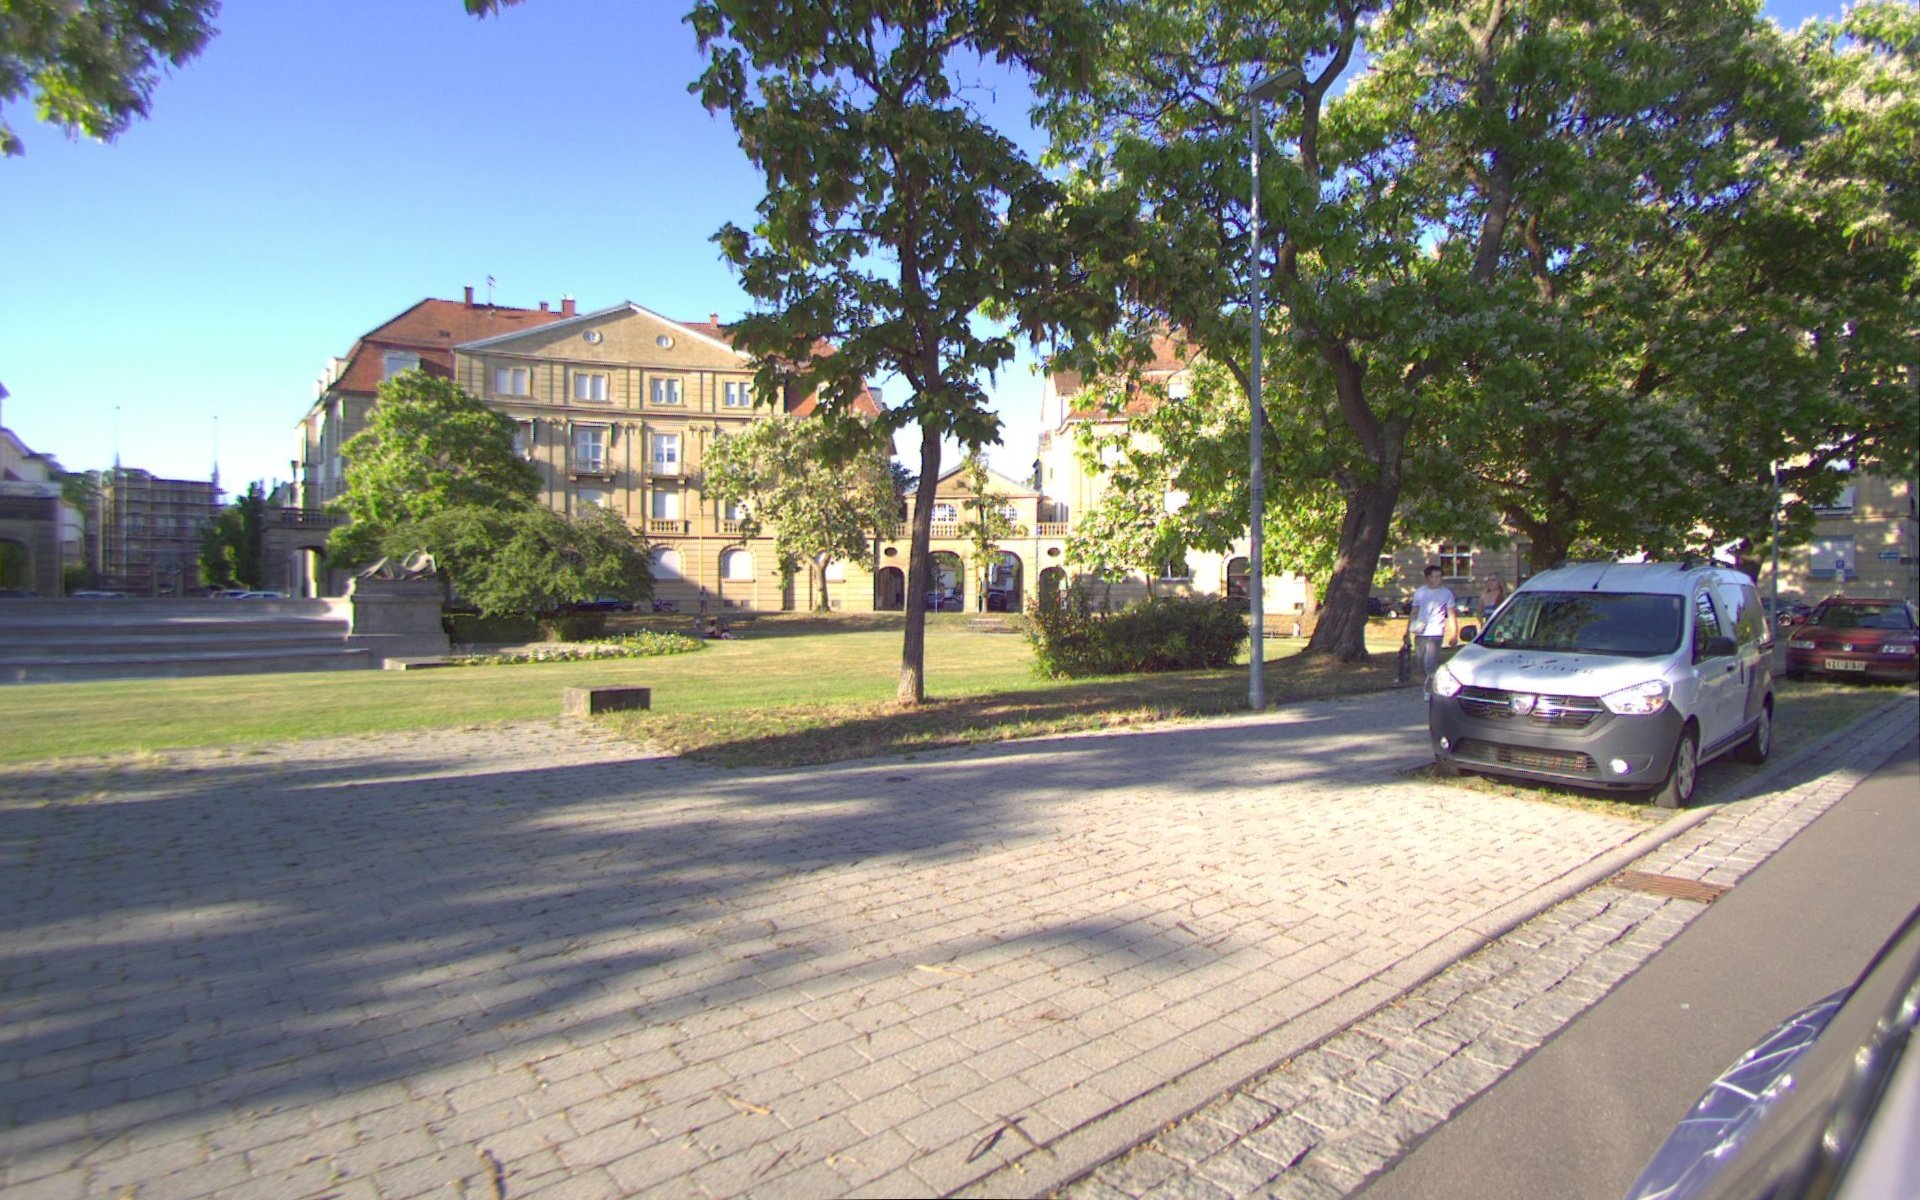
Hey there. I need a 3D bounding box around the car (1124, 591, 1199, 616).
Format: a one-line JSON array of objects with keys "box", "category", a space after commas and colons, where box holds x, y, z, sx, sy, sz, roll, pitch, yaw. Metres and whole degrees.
[{"box": [12.351, 0.208, 61.952, 4.316, 1.435, 1.808, 0, 1, 20], "category": "car"}]

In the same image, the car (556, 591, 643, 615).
[{"box": [-21.860, 0.165, 61.534, 4.845, 1.435, 1.823, 0, 1, -16], "category": "car"}]

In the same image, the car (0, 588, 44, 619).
[{"box": [-45.489, 0.152, 47.192, 4.024, 1.435, 1.817, -1, 1, -40], "category": "car"}]

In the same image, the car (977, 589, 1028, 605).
[{"box": [3.796, -0.281, 90.192, 4.283, 1.435, 1.822, 0, 1, -6], "category": "car"}]

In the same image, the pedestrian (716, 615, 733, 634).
[{"box": [-11.042, 1.142, 47.486, 0.664, 0.892, 0.578, -1, -1, -3], "category": "pedestrian"}]

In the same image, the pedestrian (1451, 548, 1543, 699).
[{"box": [6.534, 0.276, 12.321, 0.719, 1.758, 0.754, 0, -1, -40], "category": "pedestrian"}]

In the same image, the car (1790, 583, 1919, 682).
[{"box": [16.002, 0.464, 17.621, 4.727, 1.504, 1.681, -1, 1, -42], "category": "car"}]

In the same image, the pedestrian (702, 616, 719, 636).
[{"box": [-11.408, 1.177, 46.337, 0.664, 0.892, 0.578, -1, -1, -3], "category": "pedestrian"}]

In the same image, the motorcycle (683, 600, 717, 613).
[{"box": [-15.500, 0.384, 60.373, 1.825, 0.679, 0.682, -1, 1, -39], "category": "motorcycle"}]

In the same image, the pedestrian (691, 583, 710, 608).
[{"box": [-15.483, -0.264, 60.386, 0.933, 1.493, 0.682, -1, 1, -38], "category": "pedestrian"}]

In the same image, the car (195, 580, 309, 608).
[{"box": [-37.473, -0.332, 53.716, 4.854, 1.435, 1.820, -1, 1, -34], "category": "car"}]

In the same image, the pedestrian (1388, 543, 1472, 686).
[{"box": [6.008, 0.179, 12.940, 0.719, 1.758, 0.726, 0, -1, -40], "category": "pedestrian"}]

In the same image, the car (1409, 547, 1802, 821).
[{"box": [5.656, 0.501, 8.611, 4.436, 1.761, 1.681, -1, 1, -42], "category": "car"}]

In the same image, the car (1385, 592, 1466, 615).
[{"box": [28.157, 0.181, 61.305, 4.411, 1.341, 1.491, 0, 1, 28], "category": "car"}]

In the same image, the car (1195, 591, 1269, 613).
[{"box": [17.822, 0.113, 66.352, 4.589, 1.435, 1.809, 0, 1, 19], "category": "car"}]

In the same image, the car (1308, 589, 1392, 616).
[{"box": [22.233, 0.126, 57.736, 4.394, 1.435, 1.553, 0, 1, 27], "category": "car"}]

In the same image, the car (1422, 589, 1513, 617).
[{"box": [27.509, 0.122, 54.857, 4.329, 1.435, 1.826, 0, 1, 30], "category": "car"}]

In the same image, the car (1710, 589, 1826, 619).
[{"box": [40.923, 0.172, 51.323, 4.440, 1.436, 1.905, 1, 1, 45], "category": "car"}]

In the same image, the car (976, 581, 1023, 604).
[{"box": [3.739, -0.745, 96.477, 4.285, 2.134, 1.821, 0, 1, -3], "category": "car"}]
